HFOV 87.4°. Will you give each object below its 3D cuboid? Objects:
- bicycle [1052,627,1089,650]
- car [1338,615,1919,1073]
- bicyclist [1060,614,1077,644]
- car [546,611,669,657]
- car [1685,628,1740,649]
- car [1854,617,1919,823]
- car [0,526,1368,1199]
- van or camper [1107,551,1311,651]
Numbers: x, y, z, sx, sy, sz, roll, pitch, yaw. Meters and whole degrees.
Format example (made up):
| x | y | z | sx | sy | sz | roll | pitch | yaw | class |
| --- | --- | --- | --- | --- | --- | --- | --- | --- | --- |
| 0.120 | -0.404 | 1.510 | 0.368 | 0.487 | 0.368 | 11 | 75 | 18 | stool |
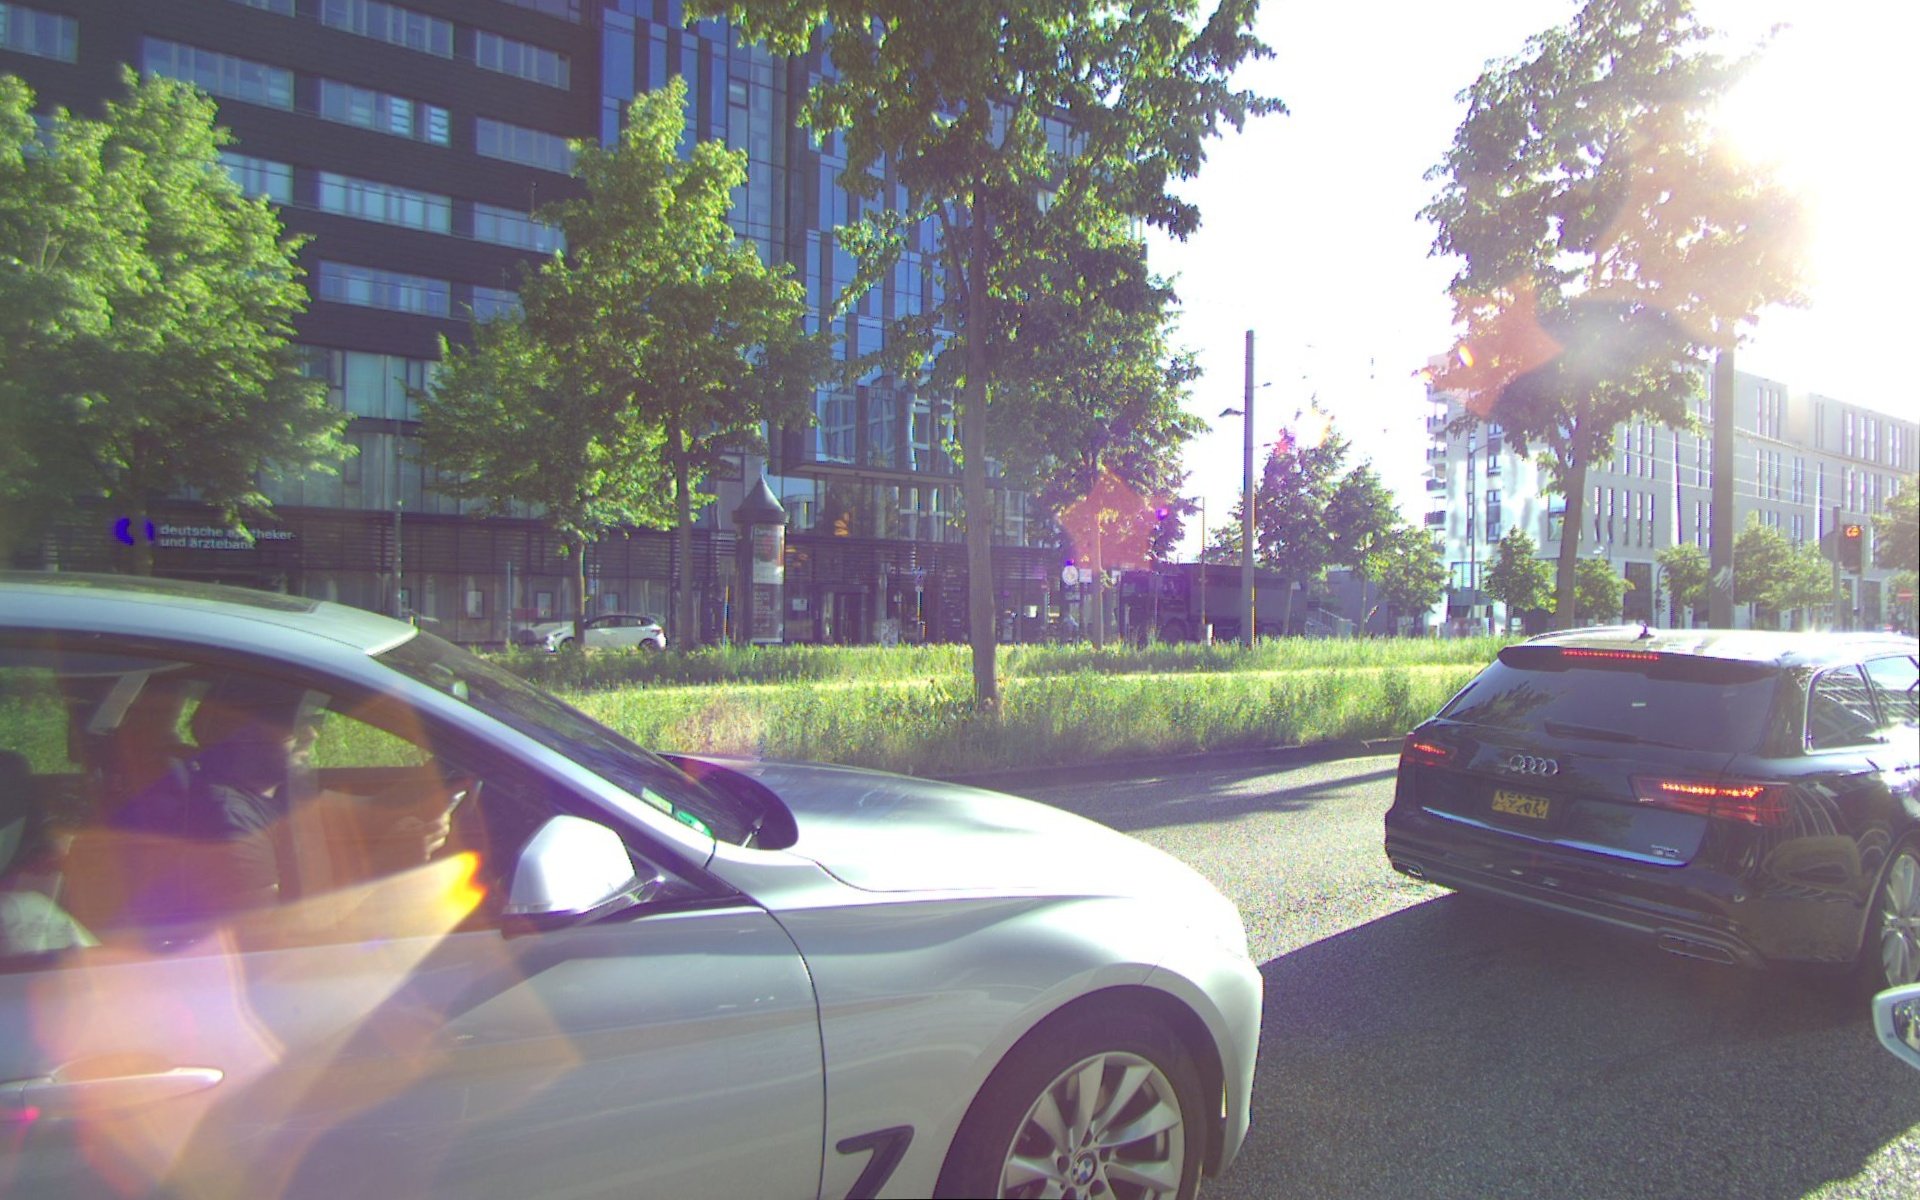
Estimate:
| x | y | z | sx | sy | sz | roll | pitch | yaw | class |
| --- | --- | --- | --- | --- | --- | --- | --- | --- | --- |
| 5.370 | 1.868 | 48.771 | 1.826 | 1.047 | 0.525 | 2 | 0 | -30 | bicycle |
| 4.190 | 0.849 | 5.198 | 4.455 | 1.476 | 1.799 | 1 | -1 | -31 | car |
| 5.249 | 1.426 | 48.688 | 0.619 | 1.425 | 0.490 | 2 | 0 | -30 | bicyclist |
| -12.389 | 1.188 | 35.312 | 3.944 | 1.525 | 1.748 | 1 | -1 | -24 | car |
| 52.618 | 2.688 | 70.208 | 4.420 | 1.360 | 1.572 | 2 | -1 | -31 | car |
| 9.258 | 0.943 | 8.146 | 4.063 | 1.548 | 1.800 | 1 | -1 | -30 | car |
| -1.494 | 0.675 | 1.928 | 4.689 | 1.508 | 1.799 | 1 | -1 | -31 | car |
| 11.661 | 0.167 | 46.448 | 10.109 | 4.248 | 2.740 | 2 | -1 | -30 | van or camper |
